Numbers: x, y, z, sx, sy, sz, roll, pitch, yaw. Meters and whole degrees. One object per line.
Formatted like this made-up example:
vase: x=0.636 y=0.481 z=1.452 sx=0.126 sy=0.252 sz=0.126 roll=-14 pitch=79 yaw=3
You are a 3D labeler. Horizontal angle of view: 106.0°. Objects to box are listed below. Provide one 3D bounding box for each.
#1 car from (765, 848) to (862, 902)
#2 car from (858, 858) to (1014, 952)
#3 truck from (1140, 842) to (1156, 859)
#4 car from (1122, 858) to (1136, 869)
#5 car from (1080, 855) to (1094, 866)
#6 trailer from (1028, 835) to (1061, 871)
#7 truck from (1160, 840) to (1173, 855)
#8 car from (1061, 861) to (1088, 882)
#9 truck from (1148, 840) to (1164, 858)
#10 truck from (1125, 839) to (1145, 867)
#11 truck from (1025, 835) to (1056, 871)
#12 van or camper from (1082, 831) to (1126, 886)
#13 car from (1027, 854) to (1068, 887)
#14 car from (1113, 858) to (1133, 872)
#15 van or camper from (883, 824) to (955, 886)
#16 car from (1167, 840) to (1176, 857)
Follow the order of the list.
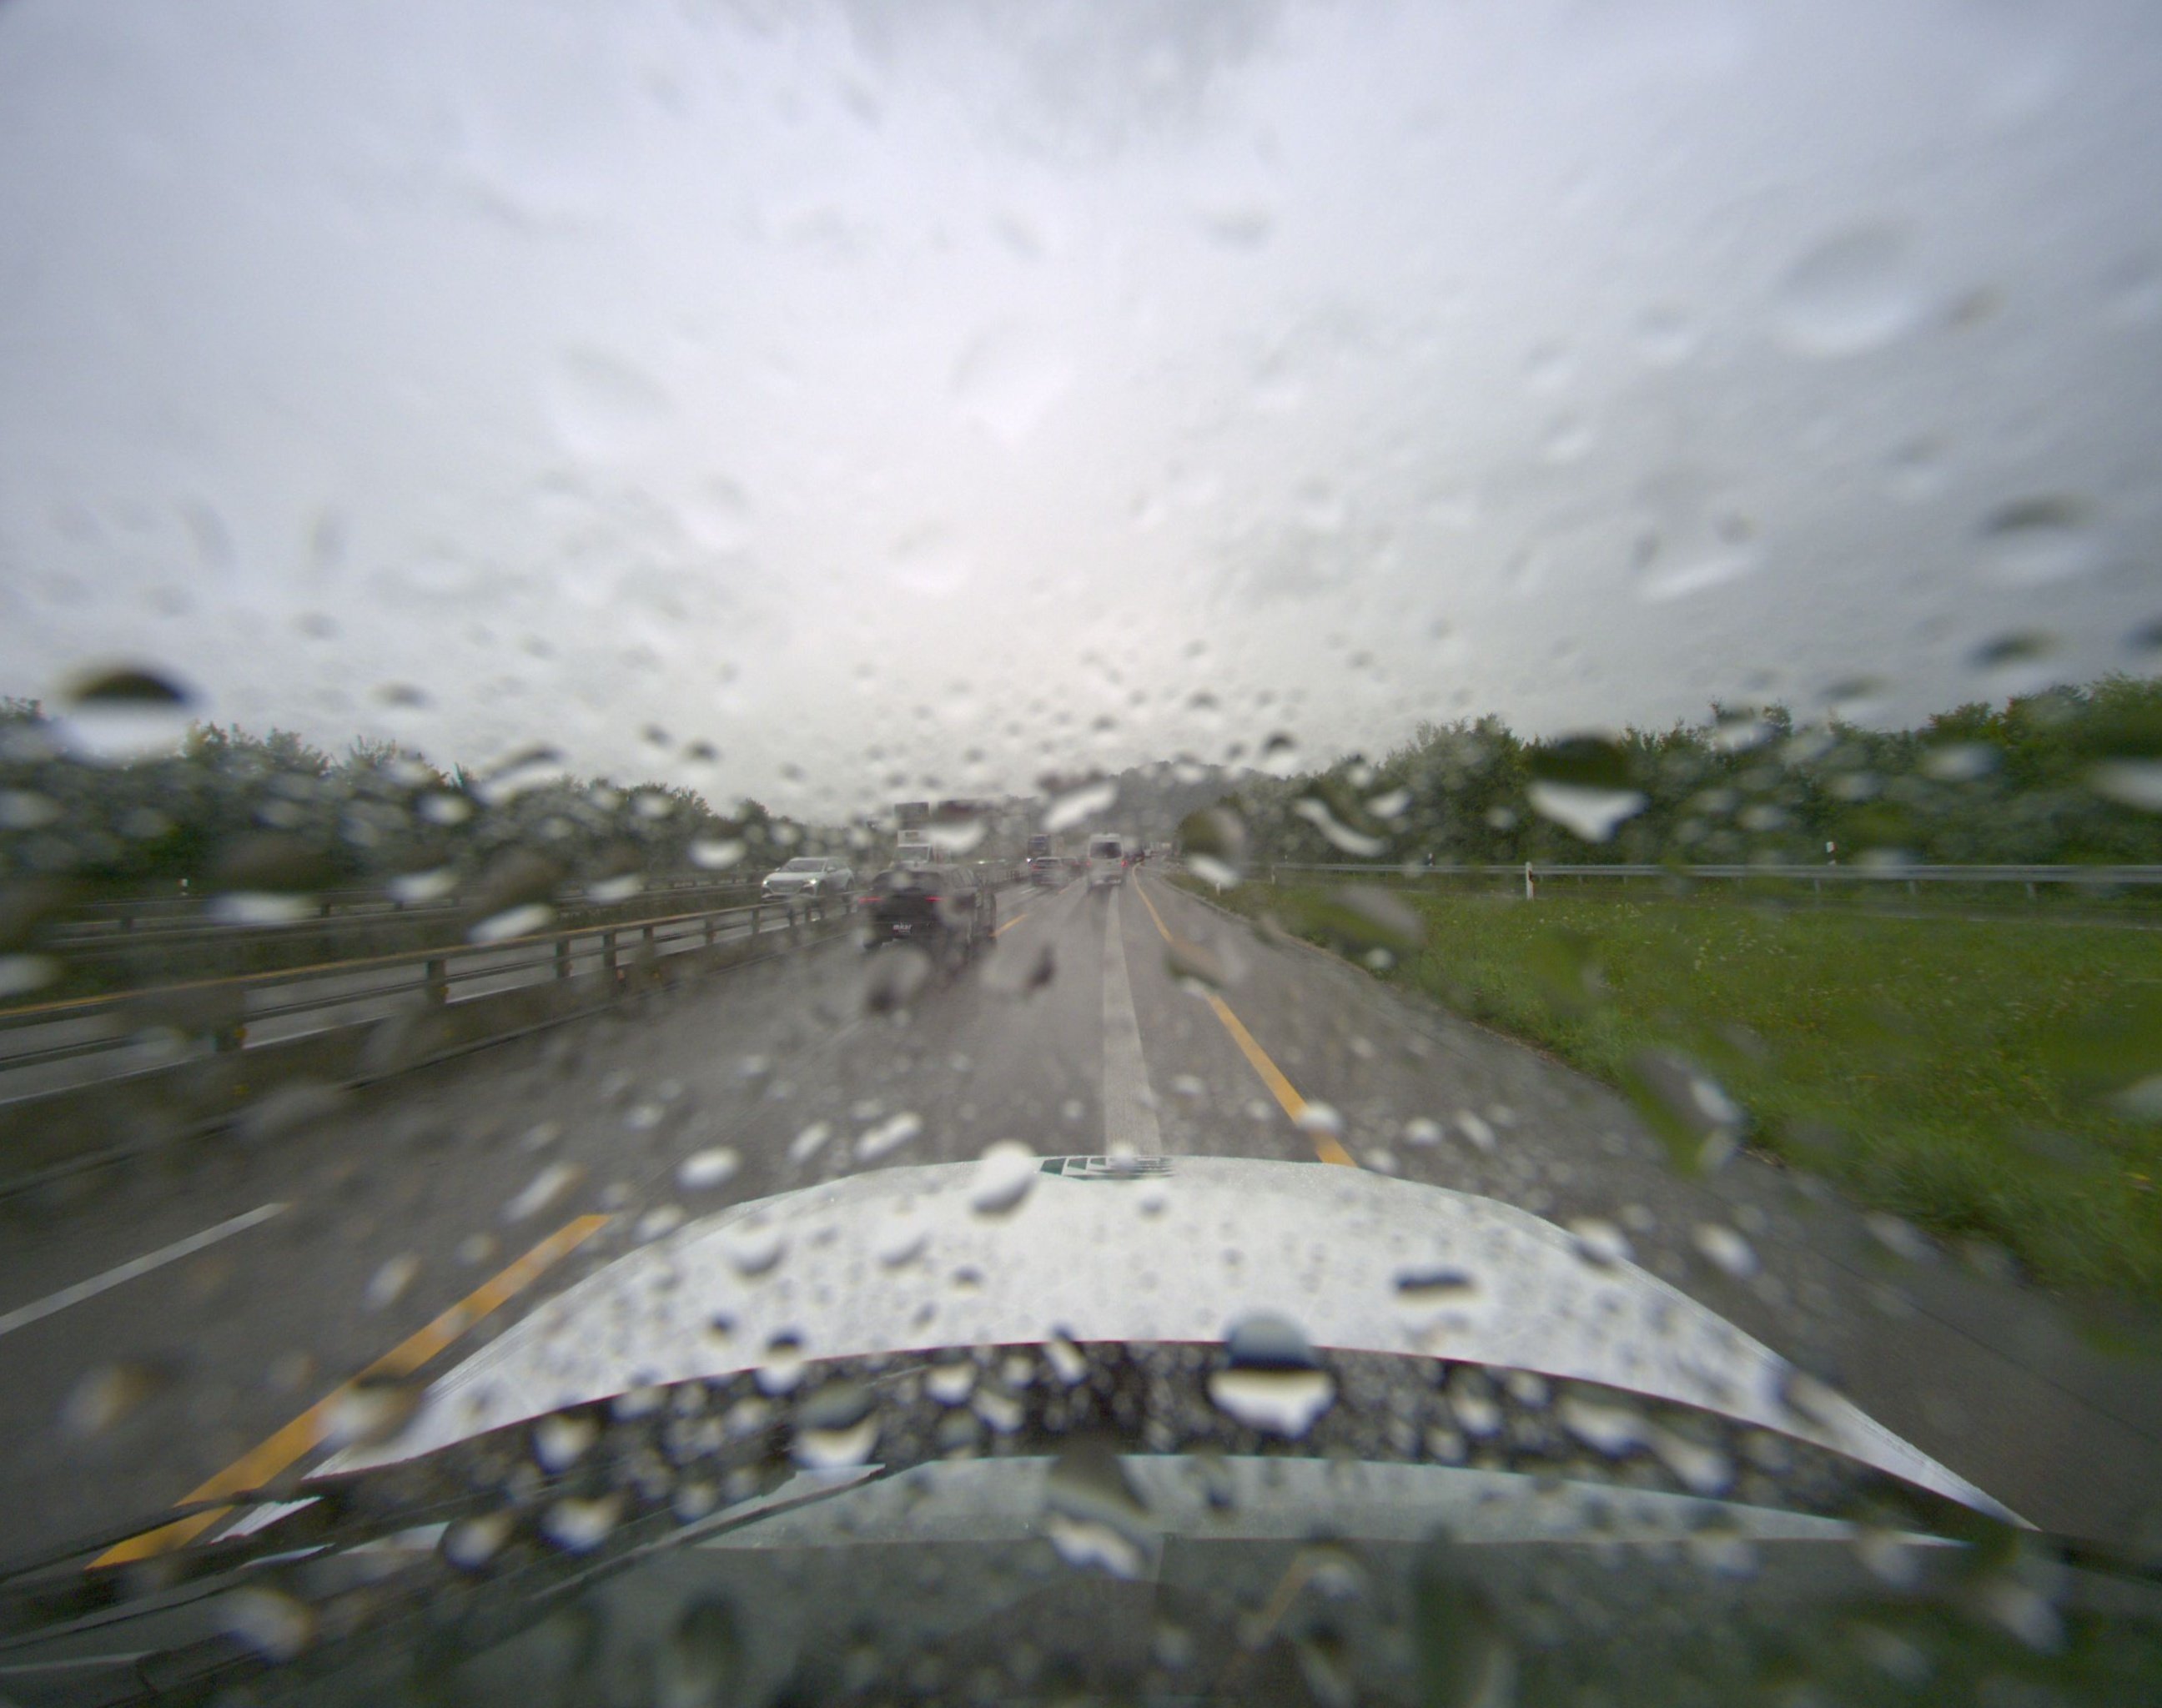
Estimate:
car: x=-8.945 y=0.682 z=27.615 sx=1.630 sy=1.668 sz=4.545 roll=0 pitch=-1 yaw=2
car: x=-2.433 y=0.799 z=14.933 sx=1.932 sy=1.427 sz=4.760 roll=0 pitch=0 yaw=1
truck: x=15.230 y=-0.820 z=185.613 sx=3.307 sy=3.762 sz=9.914 roll=0 pitch=-1 yaw=3
car: x=5.886 y=1.183 z=100.278 sx=1.380 sy=1.256 sz=3.121 roll=-1 pitch=0 yaw=-1
car: x=0.660 y=0.671 z=84.787 sx=1.257 sy=1.078 sz=3.256 roll=-1 pitch=0 yaw=3
trailer: x=-4.568 y=-0.047 z=104.100 sx=2.881 sy=4.286 sz=12.903 roll=-2 pitch=-1 yaw=3
truck: x=27.826 y=-1.994 z=263.824 sx=3.907 sy=4.785 sz=9.927 roll=0 pitch=-1 yaw=7
car: x=-0.455 y=1.305 z=61.828 sx=1.845 sy=1.500 sz=4.001 roll=-1 pitch=0 yaw=2
truck: x=20.688 y=-1.307 z=224.106 sx=3.907 sy=4.785 sz=9.927 roll=0 pitch=-1 yaw=7
truck: x=9.655 y=-0.144 z=146.536 sx=3.307 sy=4.785 sz=9.914 roll=0 pitch=-1 yaw=3
truck: x=-4.832 y=-0.071 z=98.342 sx=2.876 sy=4.232 sz=6.331 roll=-2 pitch=-1 yaw=3
van or camper: x=1.248 y=0.236 z=42.523 sx=2.131 sy=2.721 sz=4.651 roll=-1 pitch=0 yaw=2
car: x=-1.758 y=0.865 z=44.366 sx=1.860 sy=1.659 sz=3.990 roll=-1 pitch=0 yaw=2
car: x=3.523 y=0.918 z=68.481 sx=1.381 sy=1.078 sz=3.118 roll=-1 pitch=0 yaw=-3
van or camper: x=-8.425 y=0.098 z=43.095 sx=2.285 sy=3.041 sz=6.701 roll=0 pitch=-1 yaw=2
car: x=23.117 y=-1.394 z=207.759 sx=2.048 sy=4.192 sz=6.755 roll=-1 pitch=0 yaw=5
